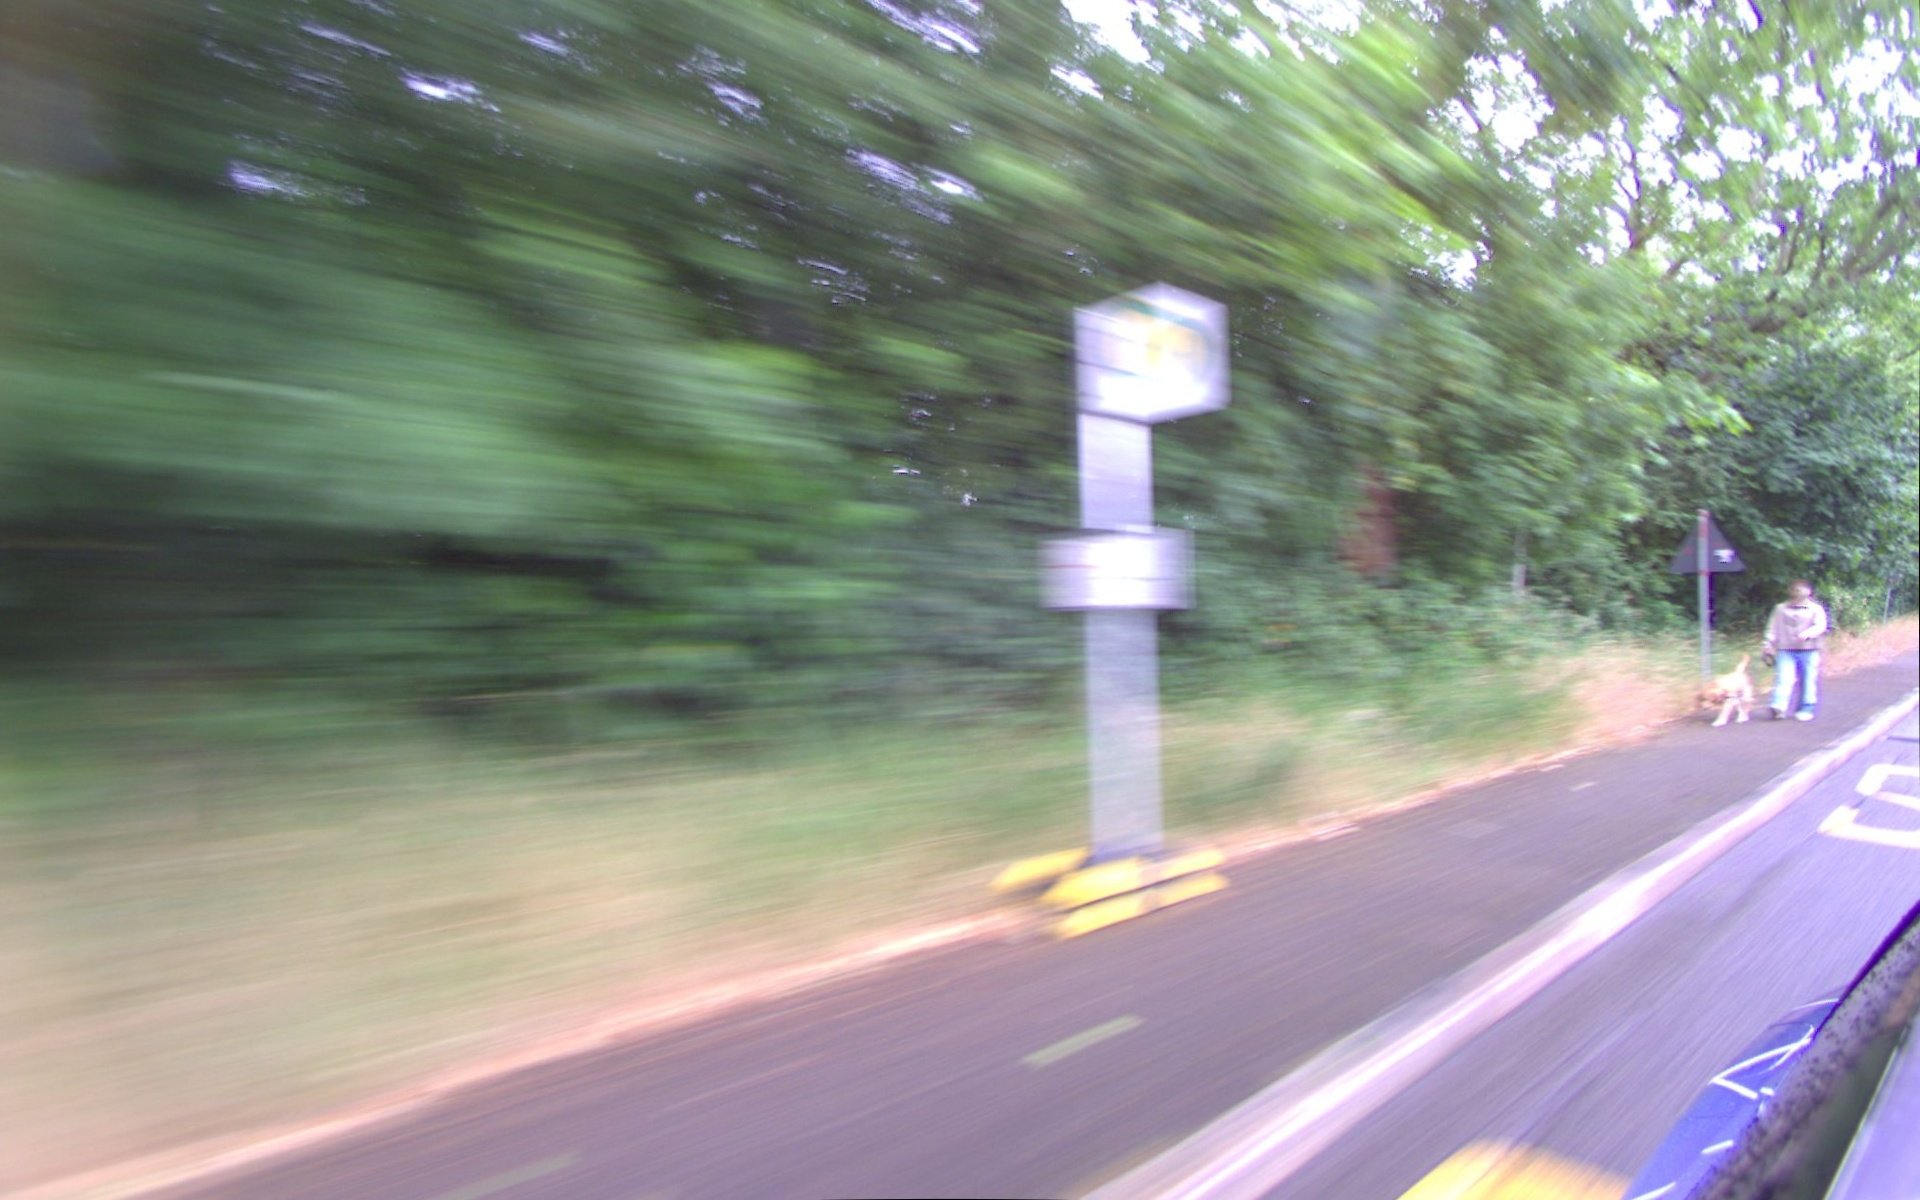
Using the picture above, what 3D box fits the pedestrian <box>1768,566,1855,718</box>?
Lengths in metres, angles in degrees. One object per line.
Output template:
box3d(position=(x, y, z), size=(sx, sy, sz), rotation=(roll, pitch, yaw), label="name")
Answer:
box3d(position=(9.535, 0.434, 11.330), size=(0.658, 1.631, 0.642), rotation=(-1, 2, -42), label="pedestrian")
